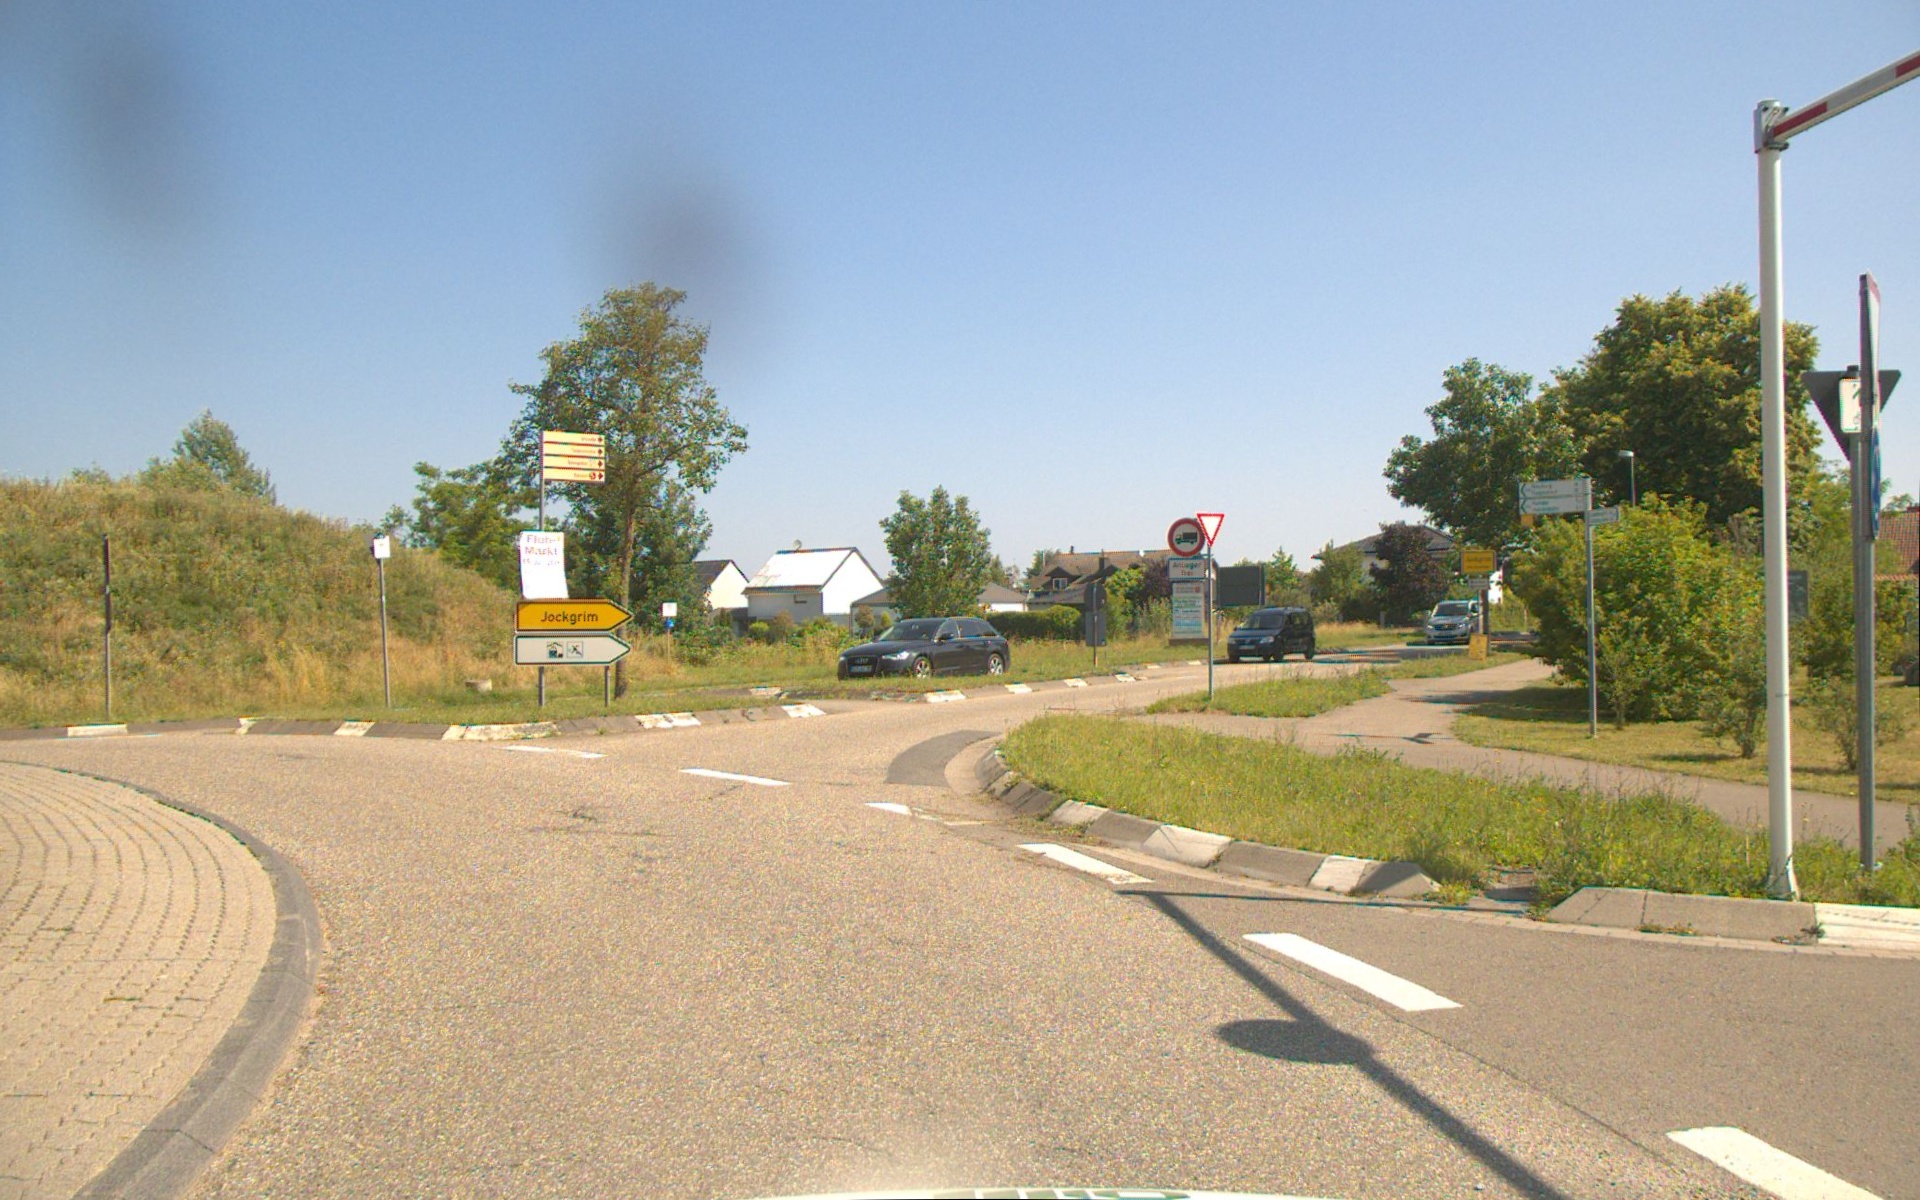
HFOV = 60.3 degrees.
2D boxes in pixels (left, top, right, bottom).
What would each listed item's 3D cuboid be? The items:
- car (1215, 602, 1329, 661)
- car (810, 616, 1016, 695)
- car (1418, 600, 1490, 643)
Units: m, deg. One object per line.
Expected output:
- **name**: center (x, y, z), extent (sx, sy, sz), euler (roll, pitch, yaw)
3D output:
- **car**: center (9.875, 0.999, 52.134), extent (1.778, 1.669, 4.640), euler (-6, -4, 34)
- **car**: center (-0.893, 1.134, 34.664), extent (1.883, 1.459, 4.899), euler (-5, -3, 32)
- **car**: center (21.821, 0.926, 72.933), extent (1.956, 1.847, 5.192), euler (-1, -1, 29)
